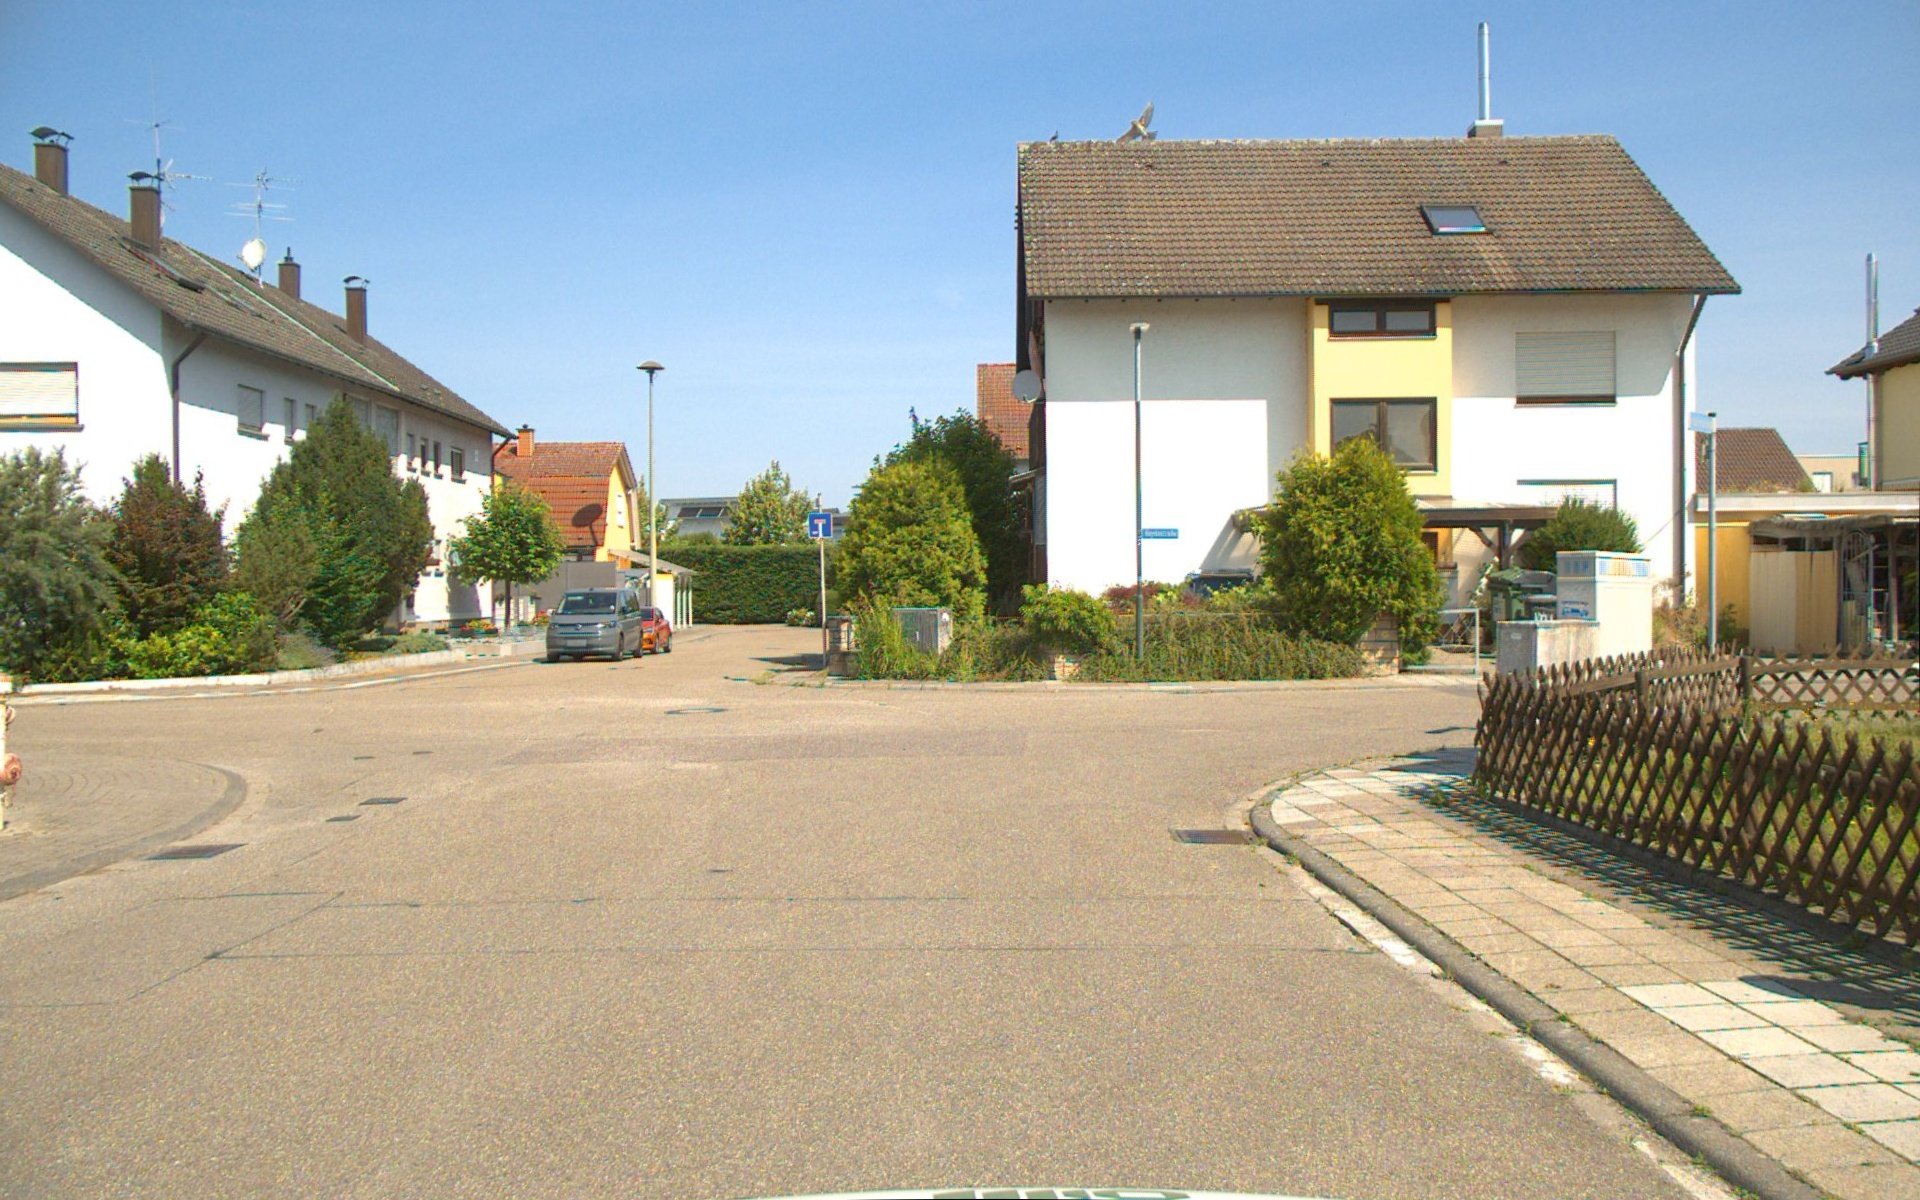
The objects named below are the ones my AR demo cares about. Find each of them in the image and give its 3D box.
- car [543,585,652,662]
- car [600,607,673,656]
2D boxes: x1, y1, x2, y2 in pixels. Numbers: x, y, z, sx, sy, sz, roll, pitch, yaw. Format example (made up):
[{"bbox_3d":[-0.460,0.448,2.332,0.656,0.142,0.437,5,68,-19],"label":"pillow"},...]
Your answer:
[{"bbox_3d":[-9.572,0.575,44.021,1.862,1.902,4.372,-1,0,1],"label":"car"},{"bbox_3d":[-9.878,0.936,50.735,1.618,1.388,3.777,-1,0,-2],"label":"car"}]
